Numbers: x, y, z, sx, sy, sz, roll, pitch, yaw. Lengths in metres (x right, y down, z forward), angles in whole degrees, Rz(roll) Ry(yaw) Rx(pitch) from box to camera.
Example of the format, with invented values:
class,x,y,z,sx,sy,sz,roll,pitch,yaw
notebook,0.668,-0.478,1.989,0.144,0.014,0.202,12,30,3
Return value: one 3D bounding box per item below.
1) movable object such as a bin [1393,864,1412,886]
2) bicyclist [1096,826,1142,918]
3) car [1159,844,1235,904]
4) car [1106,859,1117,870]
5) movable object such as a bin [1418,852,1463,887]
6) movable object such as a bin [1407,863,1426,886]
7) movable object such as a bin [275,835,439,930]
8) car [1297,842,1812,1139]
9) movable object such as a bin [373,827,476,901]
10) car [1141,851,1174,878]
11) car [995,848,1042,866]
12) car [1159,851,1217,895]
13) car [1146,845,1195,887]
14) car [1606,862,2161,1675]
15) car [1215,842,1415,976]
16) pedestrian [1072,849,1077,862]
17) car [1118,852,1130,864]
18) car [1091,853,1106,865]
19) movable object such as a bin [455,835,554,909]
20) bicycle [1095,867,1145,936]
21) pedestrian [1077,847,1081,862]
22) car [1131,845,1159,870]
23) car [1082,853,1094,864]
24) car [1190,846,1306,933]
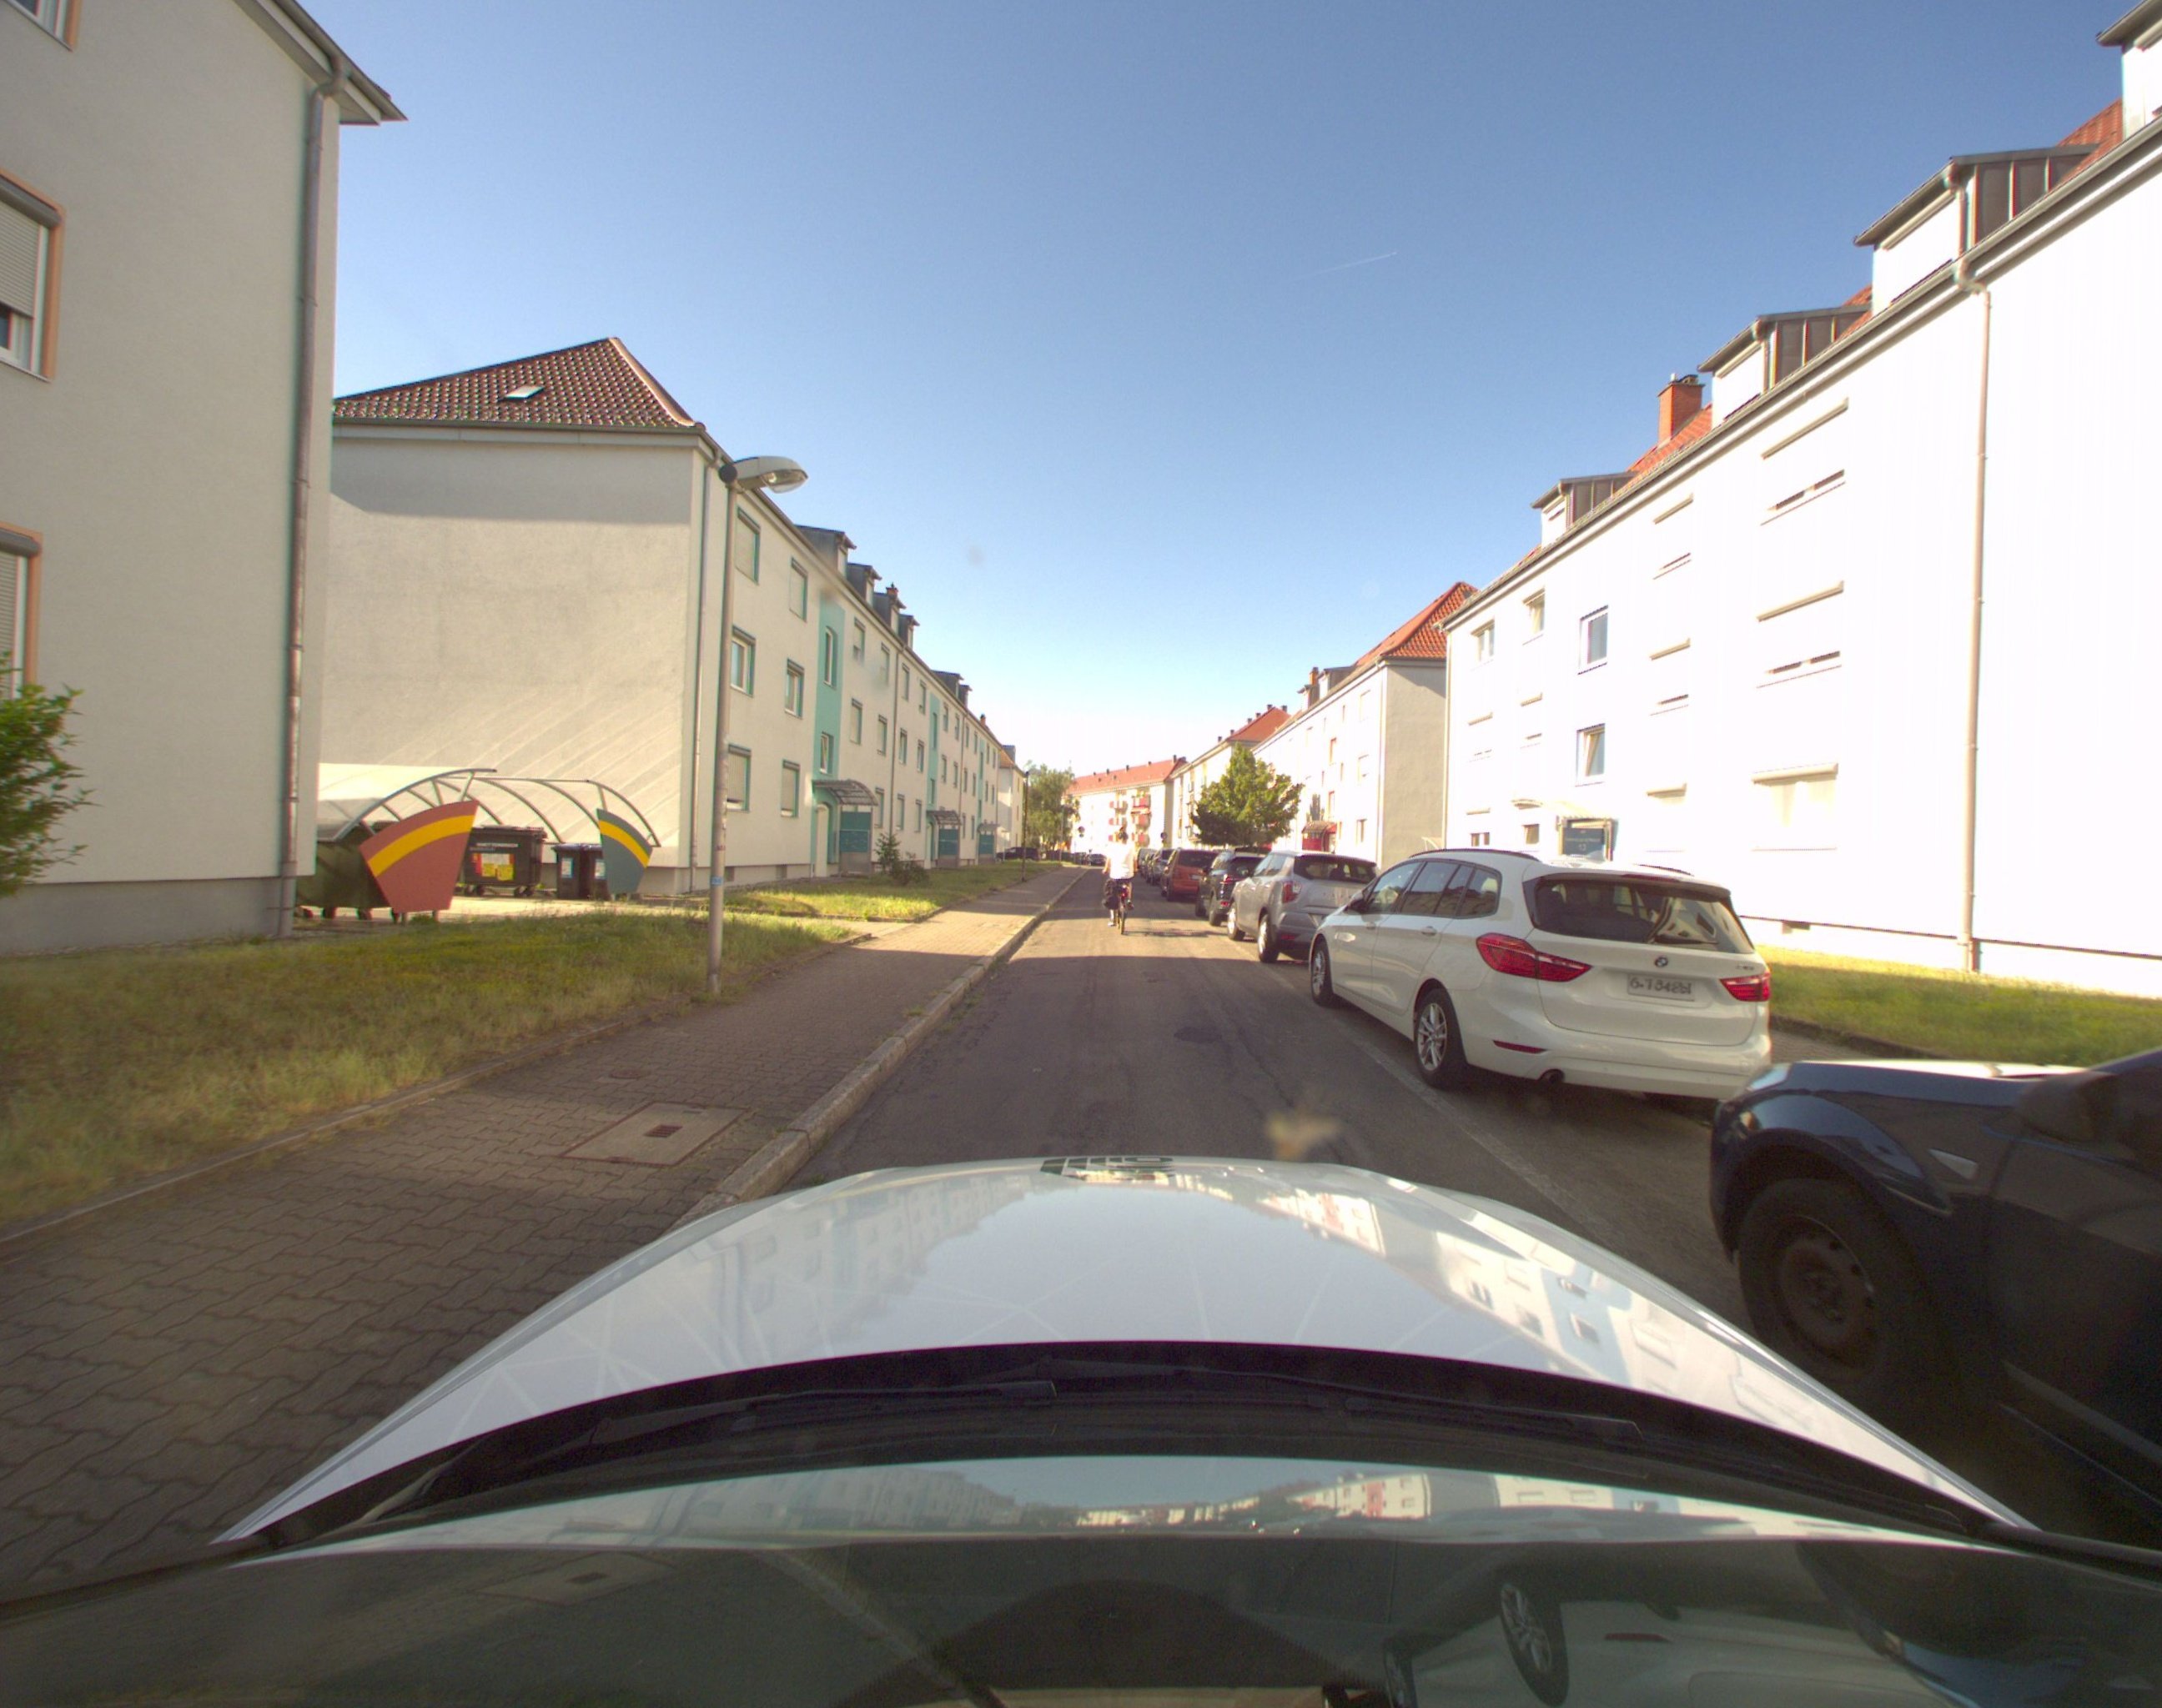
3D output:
class,x,y,z,sx,sy,sz,roll,pitch,yaw
movable object such as a bin,13.253,0.847,33.585,0.521,0.886,0.633,1,0,2
bicyclist,0.683,0.316,14.886,0.806,1.643,0.899,0,0,-1
car,3.571,0.563,25.722,1.855,1.668,4.129,3,0,2
car,4.519,1.625,122.036,1.464,1.516,3.077,2,1,0
movable object such as a bin,14.754,0.624,33.454,1.355,1.416,1.188,1,0,1
movable object such as a bin,13.808,0.840,33.557,0.521,0.886,0.633,1,0,2
movable object such as a bin,-9.450,0.350,10.681,1.309,1.168,0.910,1,1,1
car,3.207,0.730,6.720,1.684,1.575,4.436,2,1,1
movable object such as a bin,-12.322,0.176,15.321,1.254,1.348,0.801,1,1,-9
car,4.249,0.552,45.562,1.553,1.411,3.935,2,1,2
car,-5.699,0.270,74.364,4.221,1.638,1.581,1,0,-3
car,4.023,0.664,31.173,1.613,1.460,3.840,3,1,-1
car,3.918,0.485,36.308,1.695,1.670,4.380,2,1,0
car,2.847,0.812,1.193,1.635,1.498,4.160,1,1,3
car,3.368,0.680,12.659,1.745,1.617,4.451,3,1,0
pedestrian,-0.705,0.173,89.237,0.432,1.427,0.543,2,0,1
car,5.705,0.583,109.200,1.377,1.497,3.077,2,1,0
car,1.935,0.532,92.945,1.466,1.335,3.138,-2,0,-3
movable object such as a bin,-10.994,0.329,15.568,1.250,1.356,0.903,1,0,-10
bicycle,0.676,0.822,14.870,0.806,1.128,2.101,0,0,0
pedestrian,-0.244,0.063,89.229,0.432,1.574,0.543,2,0,2
car,4.704,0.239,60.035,1.669,1.738,3.942,2,1,0
car,0.897,0.608,104.018,1.465,1.335,3.139,-3,0,-1
car,3.534,0.664,18.055,1.706,1.595,4.399,4,1,2
